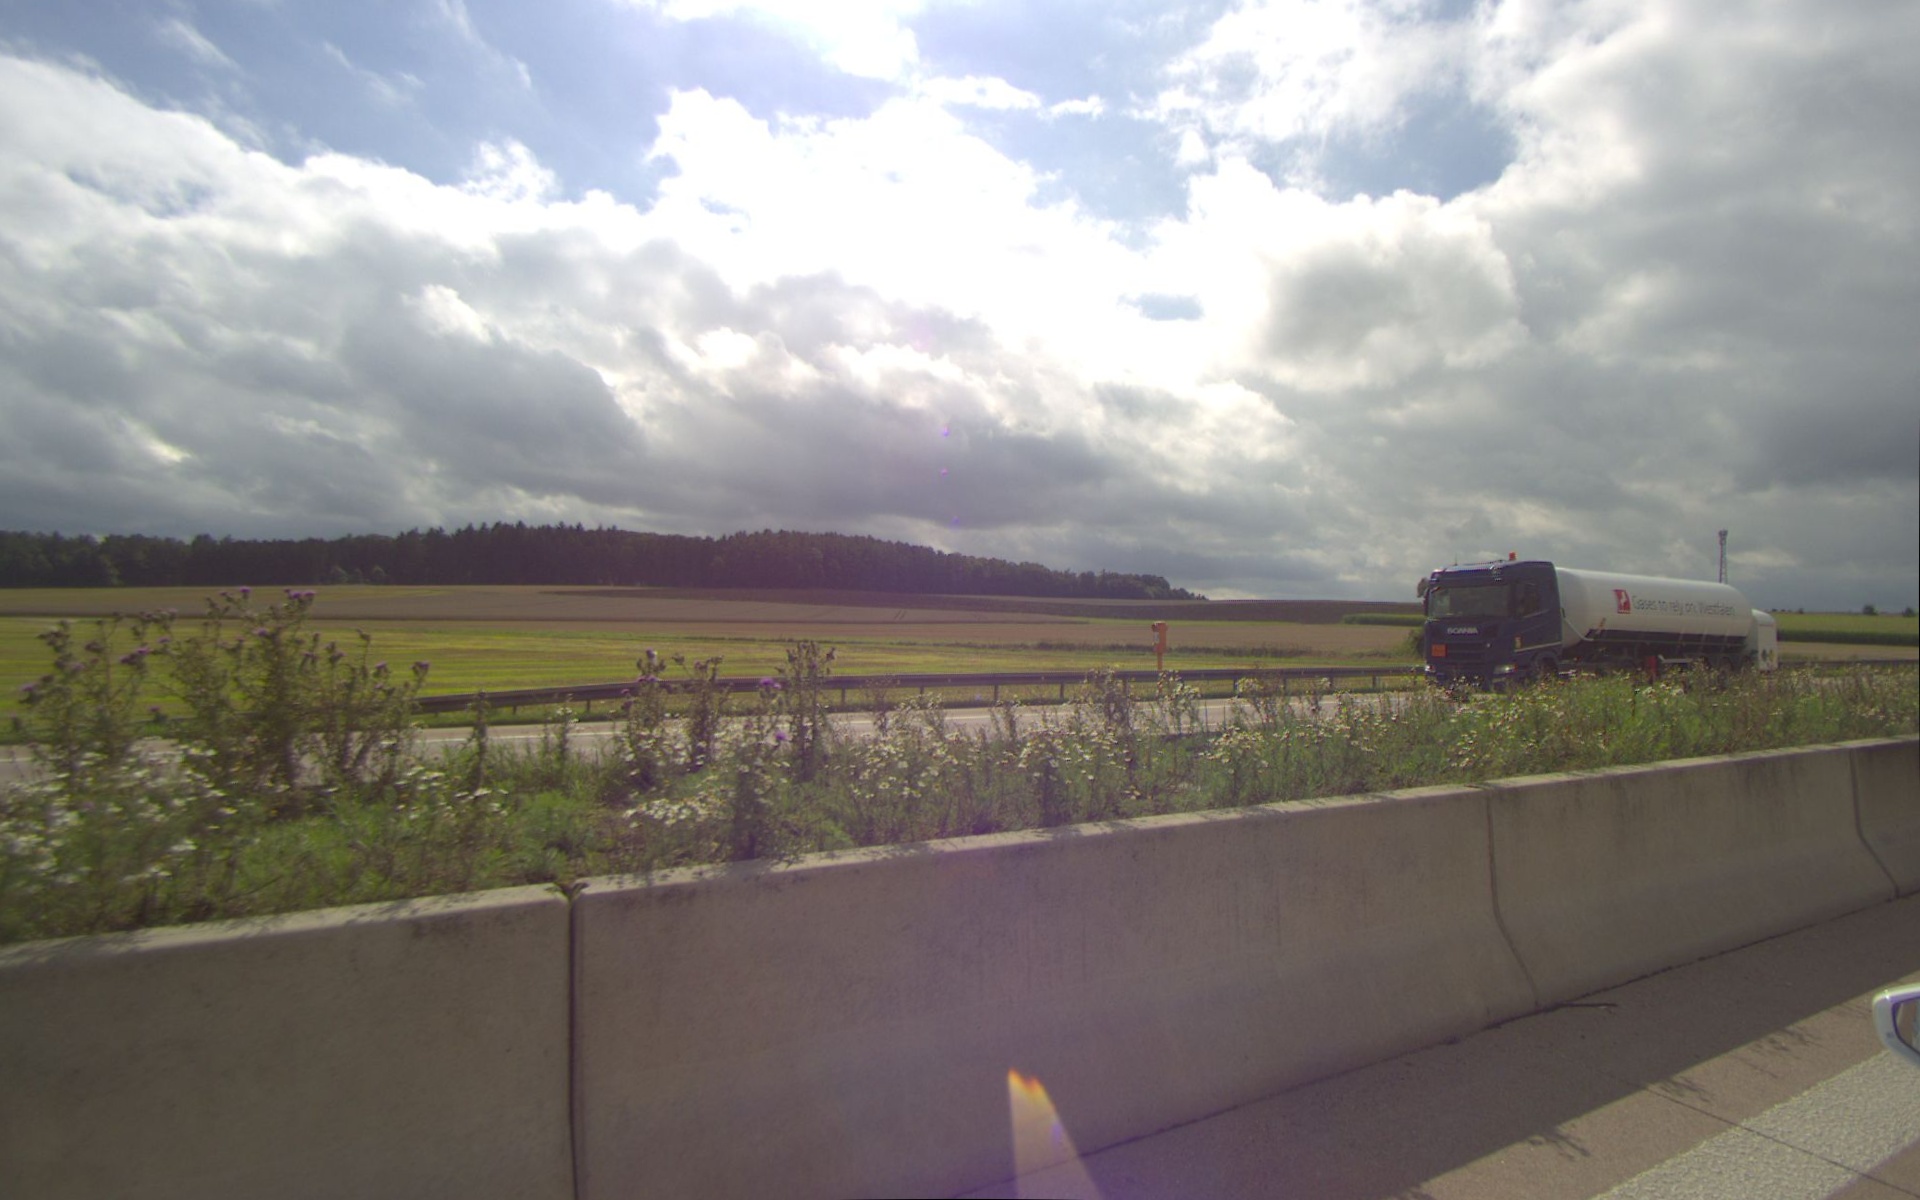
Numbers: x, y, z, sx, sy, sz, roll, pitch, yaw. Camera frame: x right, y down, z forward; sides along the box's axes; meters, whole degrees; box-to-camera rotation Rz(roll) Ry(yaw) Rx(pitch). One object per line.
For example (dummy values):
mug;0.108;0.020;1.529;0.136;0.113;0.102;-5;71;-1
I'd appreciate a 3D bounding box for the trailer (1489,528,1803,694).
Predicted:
trailer;19.984;0.433;28.958;10.903;4.152;2.880;1;-3;-29

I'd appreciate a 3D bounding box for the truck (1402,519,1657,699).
truck;14.773;0.328;26.018;6.258;4.152;2.880;1;-3;-29
